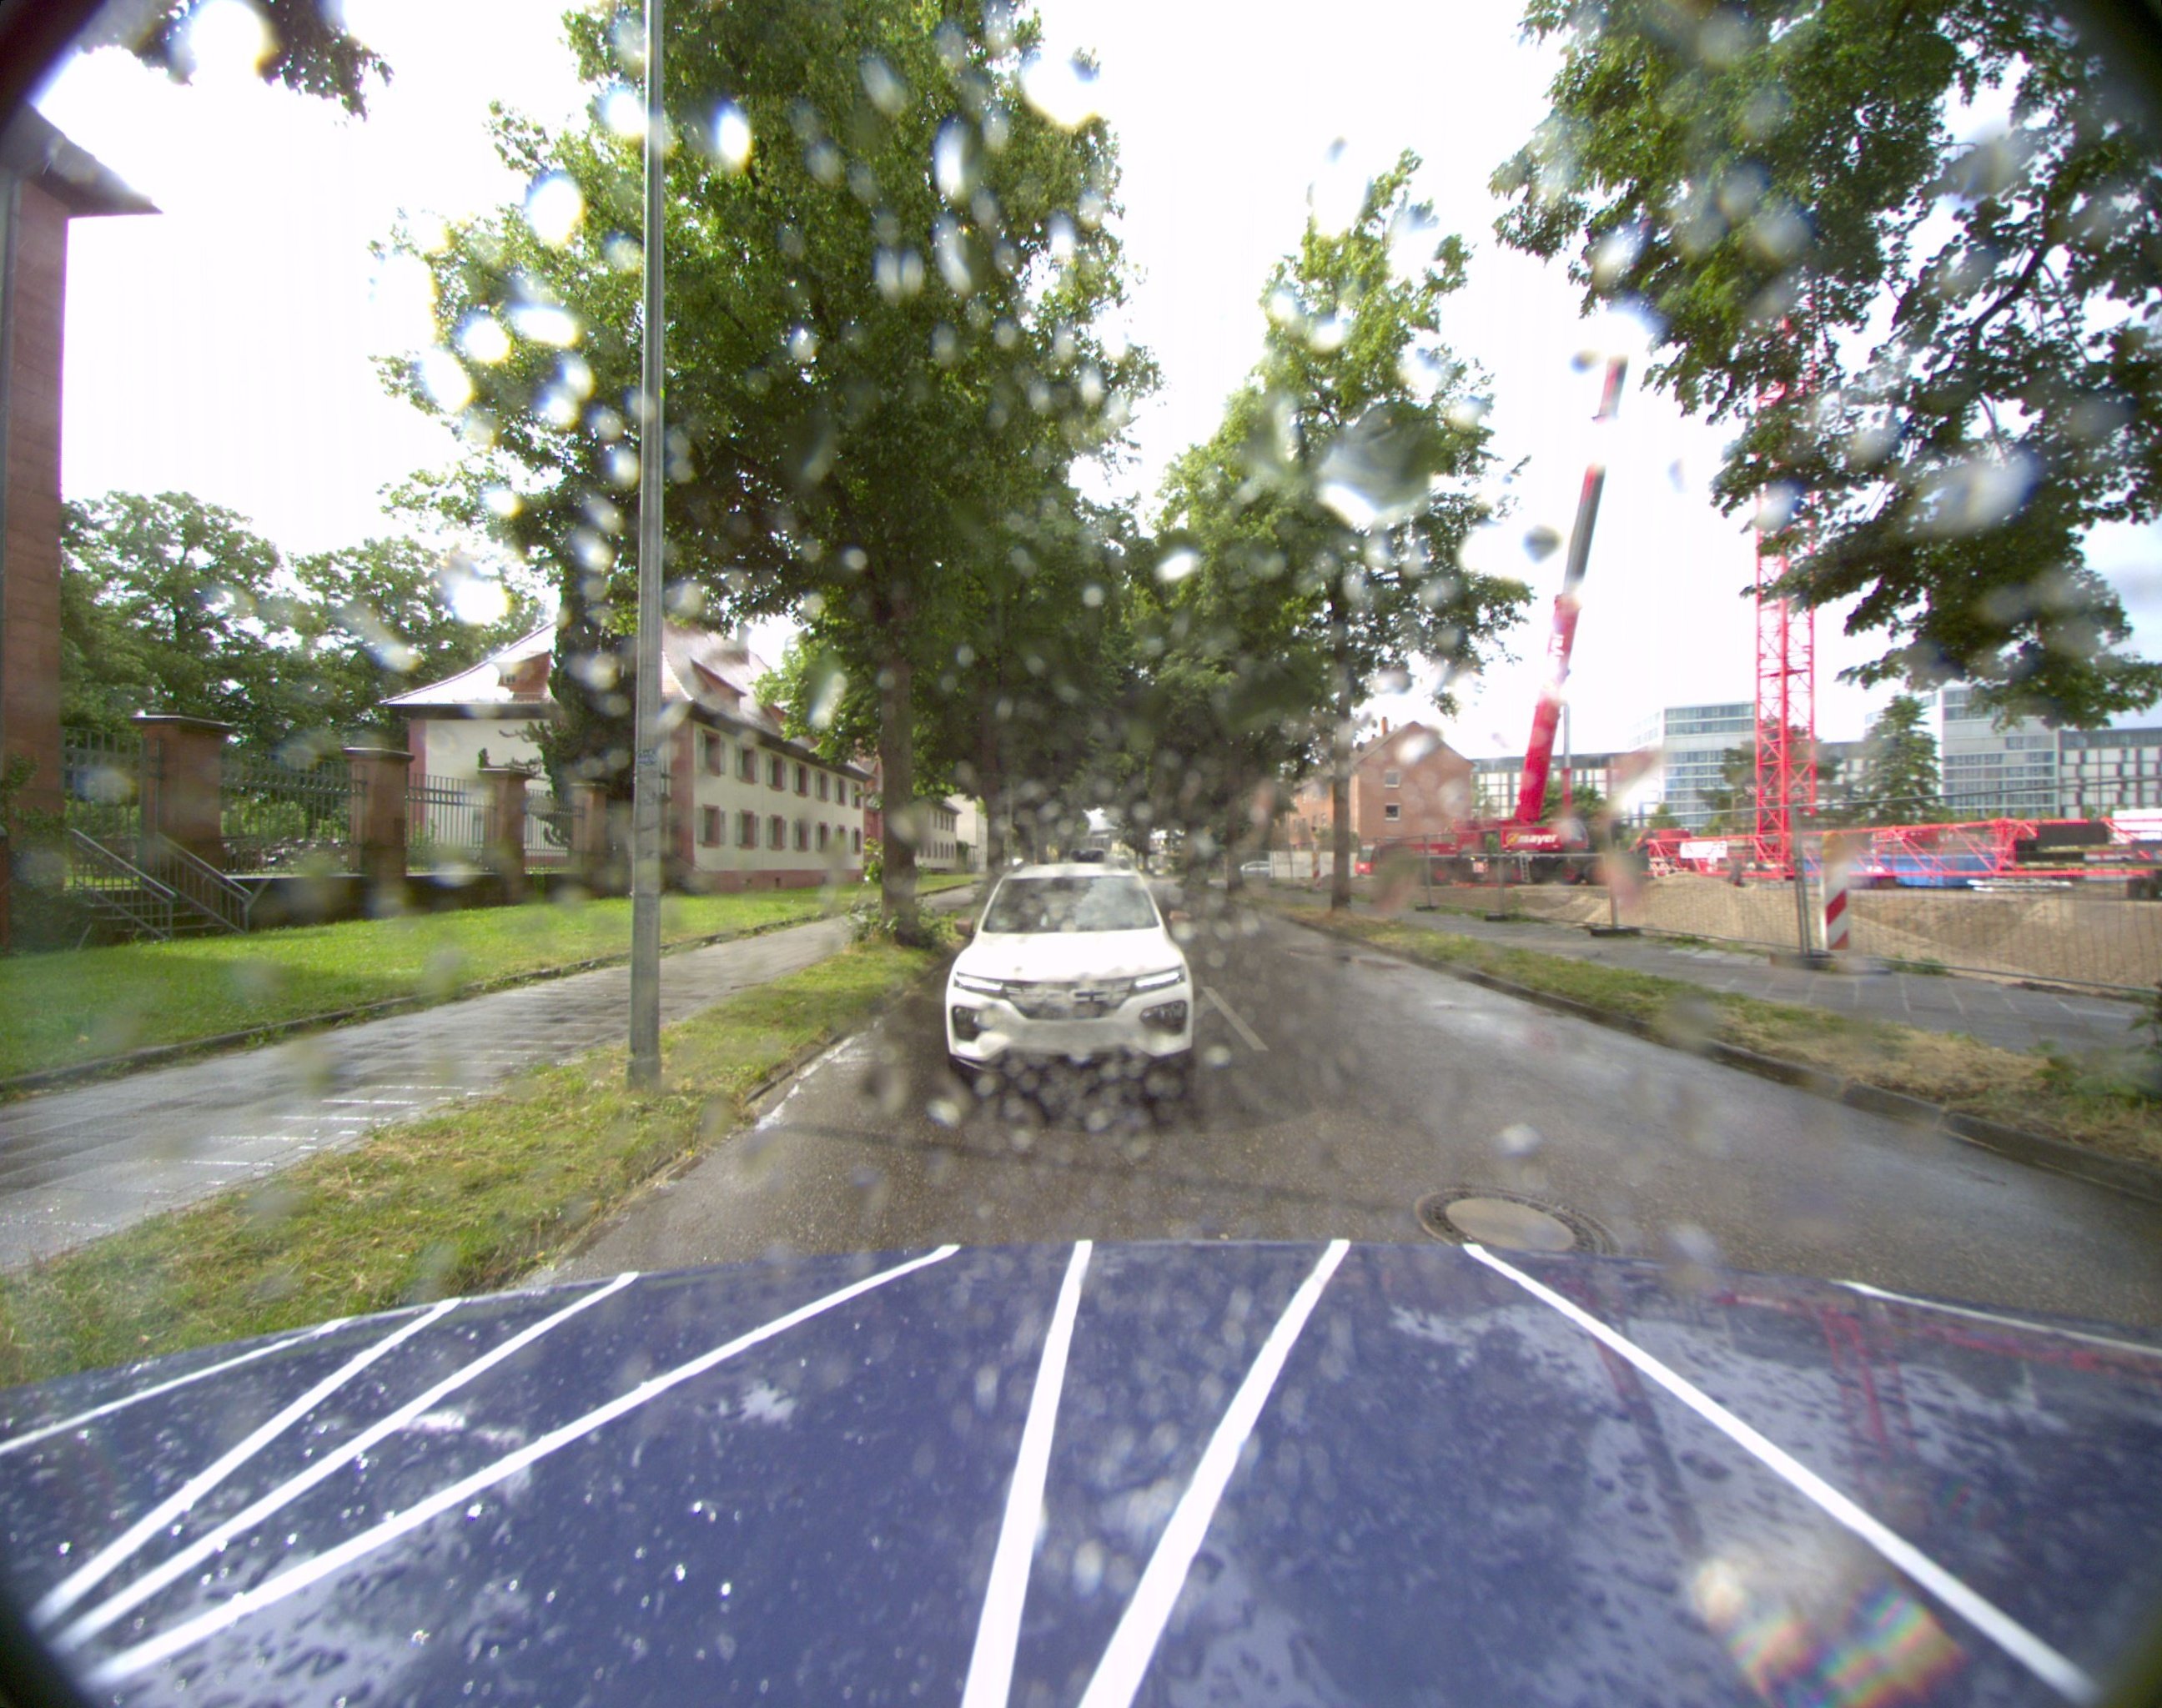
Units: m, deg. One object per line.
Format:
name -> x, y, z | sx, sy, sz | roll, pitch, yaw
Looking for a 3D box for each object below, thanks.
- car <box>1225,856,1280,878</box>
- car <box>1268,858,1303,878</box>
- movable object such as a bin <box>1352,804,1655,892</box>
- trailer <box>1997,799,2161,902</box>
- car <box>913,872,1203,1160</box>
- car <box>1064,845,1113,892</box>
car -> 13.388, 1.005, 59.274 | 3.864, 1.543, 1.700 | -2, 1, 21
car -> 16.686, 1.136, 62.248 | 1.693, 1.521, 3.999 | -2, 1, -1
movable object such as a bin -> 24.876, -0.340, 45.475 | 15.941, 4.532, 3.102 | -2, 1, 4
trailer -> 35.712, -0.161, 21.212 | 2.968, 3.214, 14.309 | -4, 0, 0
car -> -0.094, 0.972, 6.312 | 1.608, 1.499, 4.000 | -2, 0, 1
car -> 0.274, 0.631, 36.235 | 2.107, 1.990, 5.433 | -2, 1, -1
